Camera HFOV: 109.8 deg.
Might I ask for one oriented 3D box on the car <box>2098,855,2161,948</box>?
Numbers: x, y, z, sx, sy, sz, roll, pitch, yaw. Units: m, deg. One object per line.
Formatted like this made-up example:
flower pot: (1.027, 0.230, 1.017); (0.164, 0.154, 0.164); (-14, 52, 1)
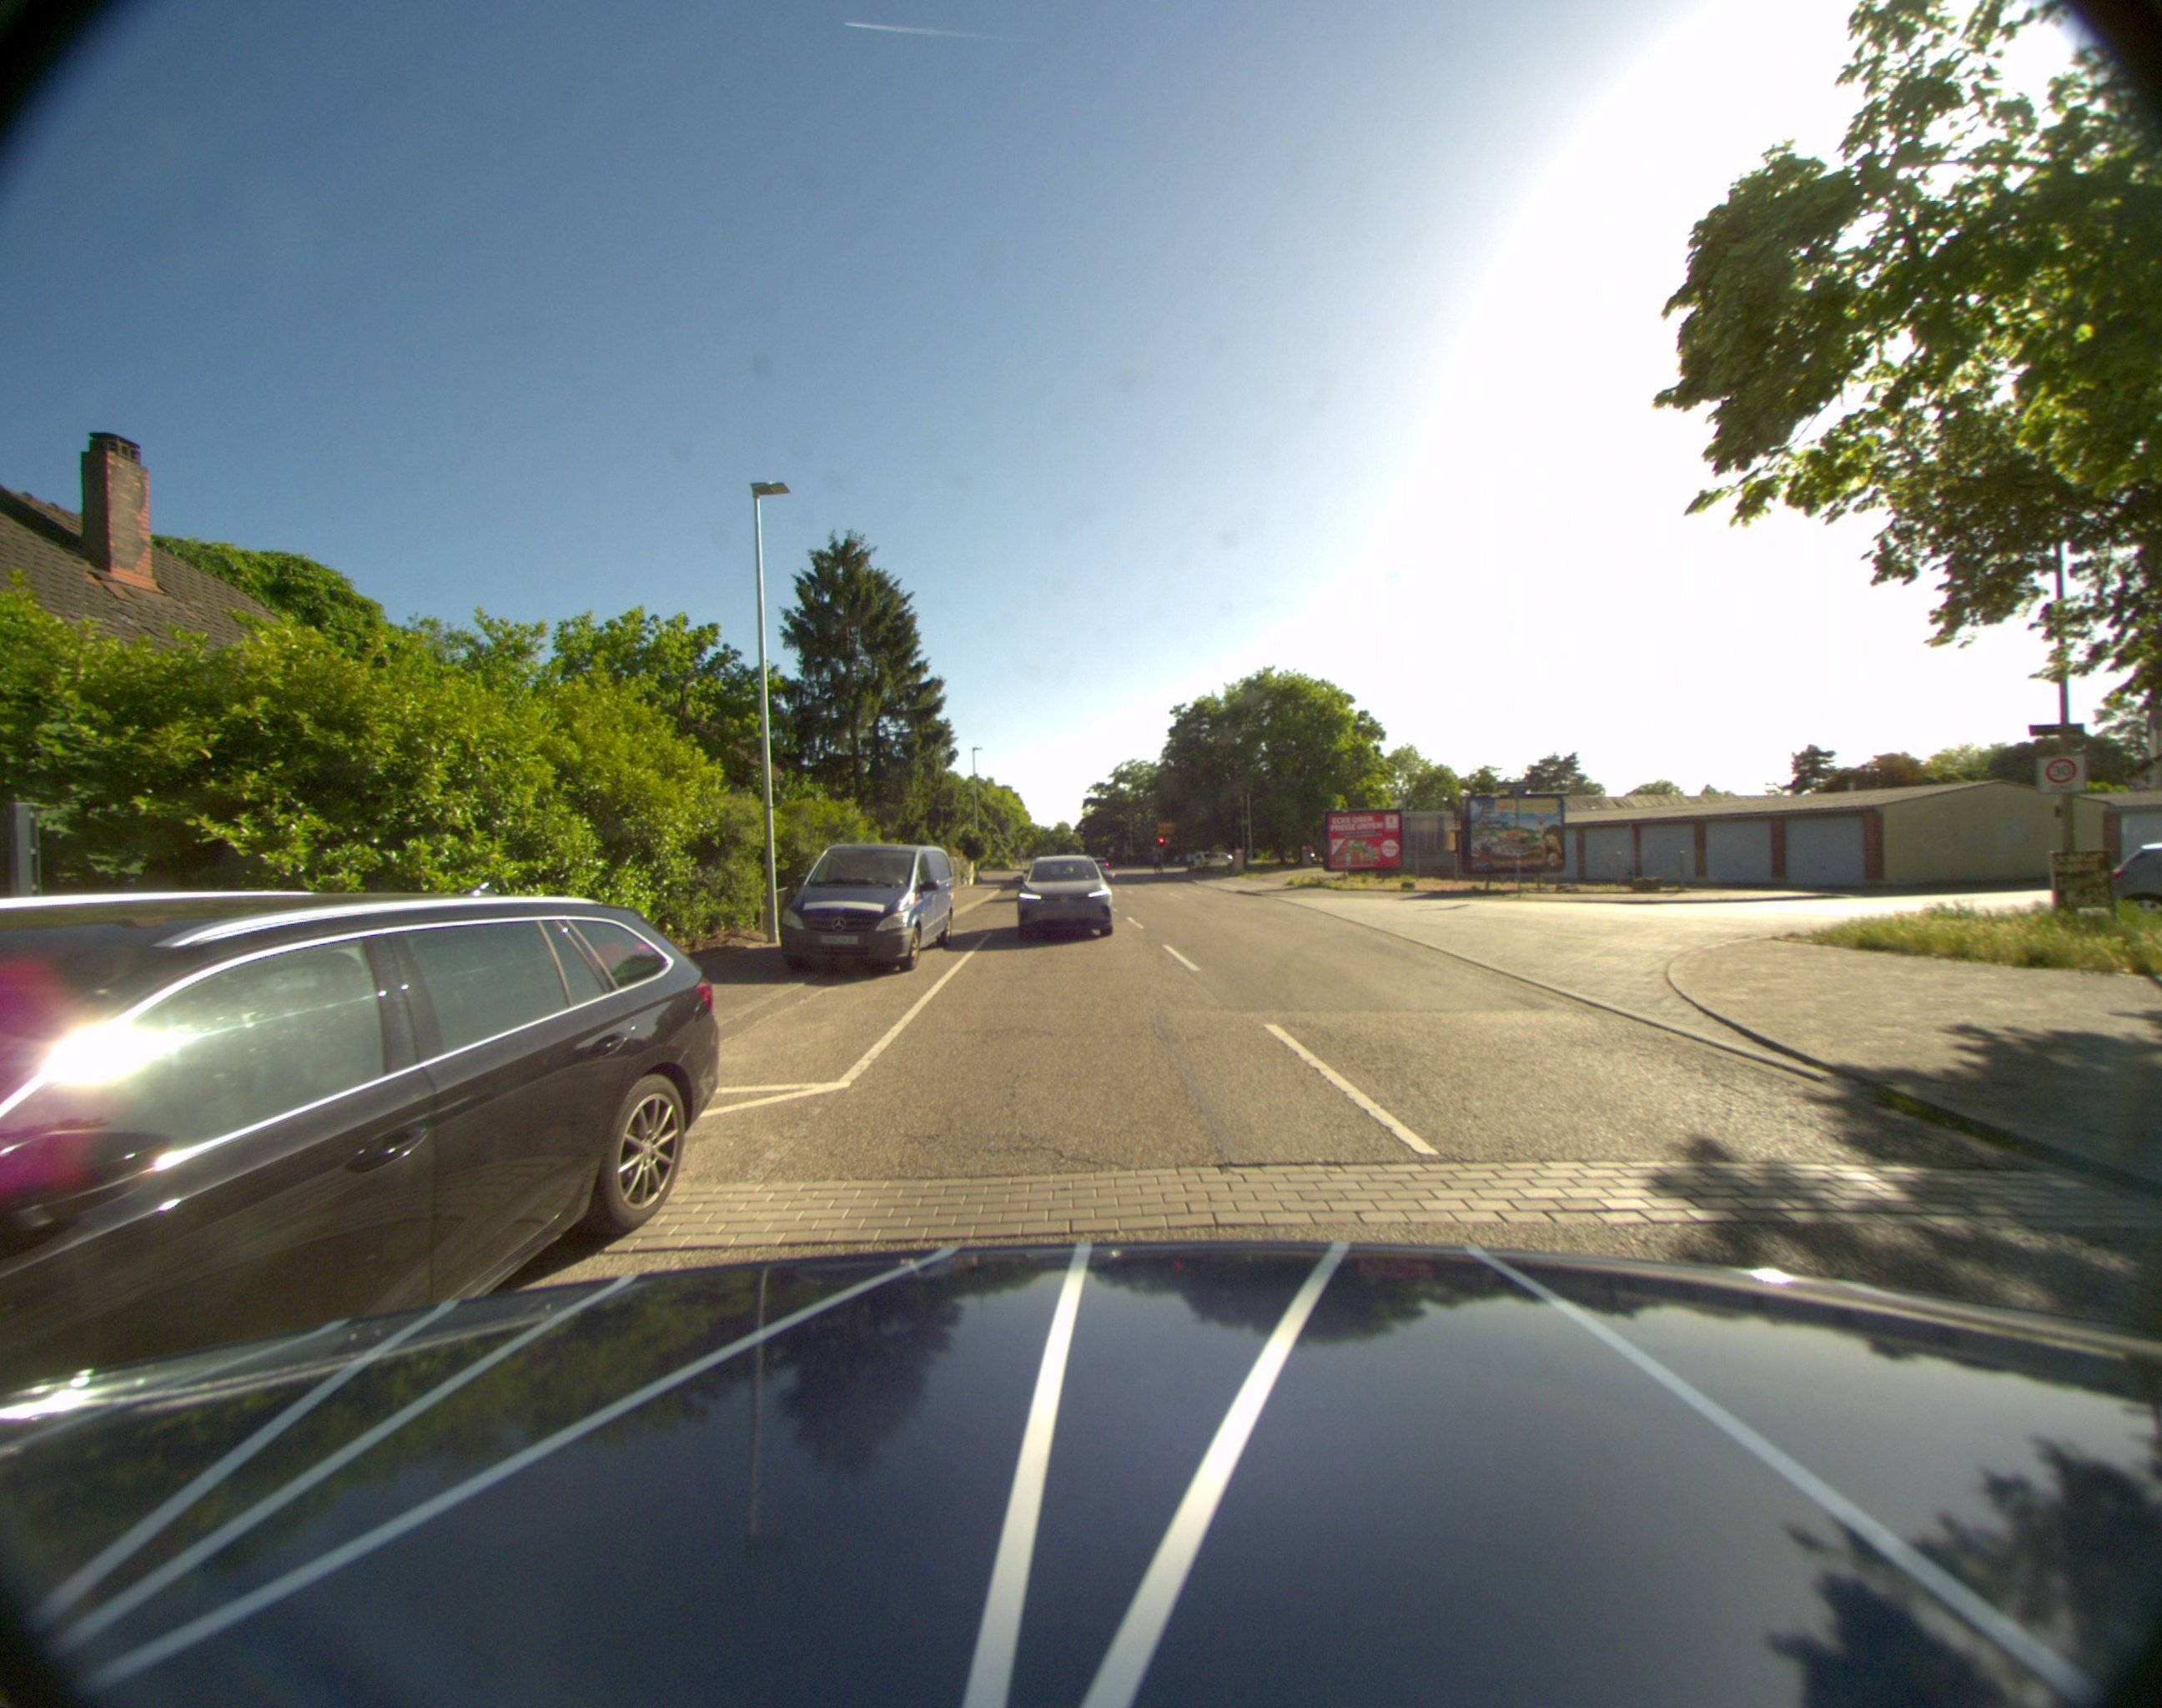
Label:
car: (18.407, 0.737, 11.096); (1.735, 1.455, 3.877); (-1, -1, -15)

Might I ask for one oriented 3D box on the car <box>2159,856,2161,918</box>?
car: (21.003, 0.771, 12.204); (1.704, 1.612, 3.876); (-2, -1, -17)

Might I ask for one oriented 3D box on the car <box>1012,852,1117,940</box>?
car: (-0.329, 0.820, 17.149); (1.993, 1.631, 4.364); (-2, 1, 0)

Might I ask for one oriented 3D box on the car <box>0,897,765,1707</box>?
car: (-2.724, 0.978, 2.005); (1.770, 1.471, 4.991); (0, 0, -1)

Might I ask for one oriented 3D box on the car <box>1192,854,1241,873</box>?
car: (14.522, 1.006, 81.475); (4.868, 1.830, 1.861); (-1, 0, -14)

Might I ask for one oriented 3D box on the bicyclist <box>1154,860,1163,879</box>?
bicyclist: (6.610, 1.302, 65.203); (0.542, 1.632, 0.829); (-2, 0, -8)

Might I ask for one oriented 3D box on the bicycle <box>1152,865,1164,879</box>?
bicycle: (6.623, 1.559, 65.059); (0.529, 1.135, 2.024); (-2, 0, -8)

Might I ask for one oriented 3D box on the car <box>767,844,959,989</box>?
car: (-3.312, 0.841, 12.608); (1.841, 1.896, 4.697); (-2, 0, -1)

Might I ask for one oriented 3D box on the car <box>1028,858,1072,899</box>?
car: (-1.369, 1.004, 32.429); (1.692, 1.564, 4.119); (-3, 0, -4)

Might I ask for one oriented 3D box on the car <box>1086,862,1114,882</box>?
car: (1.472, 1.404, 60.426); (1.841, 1.480, 4.888); (-1, 0, -2)
